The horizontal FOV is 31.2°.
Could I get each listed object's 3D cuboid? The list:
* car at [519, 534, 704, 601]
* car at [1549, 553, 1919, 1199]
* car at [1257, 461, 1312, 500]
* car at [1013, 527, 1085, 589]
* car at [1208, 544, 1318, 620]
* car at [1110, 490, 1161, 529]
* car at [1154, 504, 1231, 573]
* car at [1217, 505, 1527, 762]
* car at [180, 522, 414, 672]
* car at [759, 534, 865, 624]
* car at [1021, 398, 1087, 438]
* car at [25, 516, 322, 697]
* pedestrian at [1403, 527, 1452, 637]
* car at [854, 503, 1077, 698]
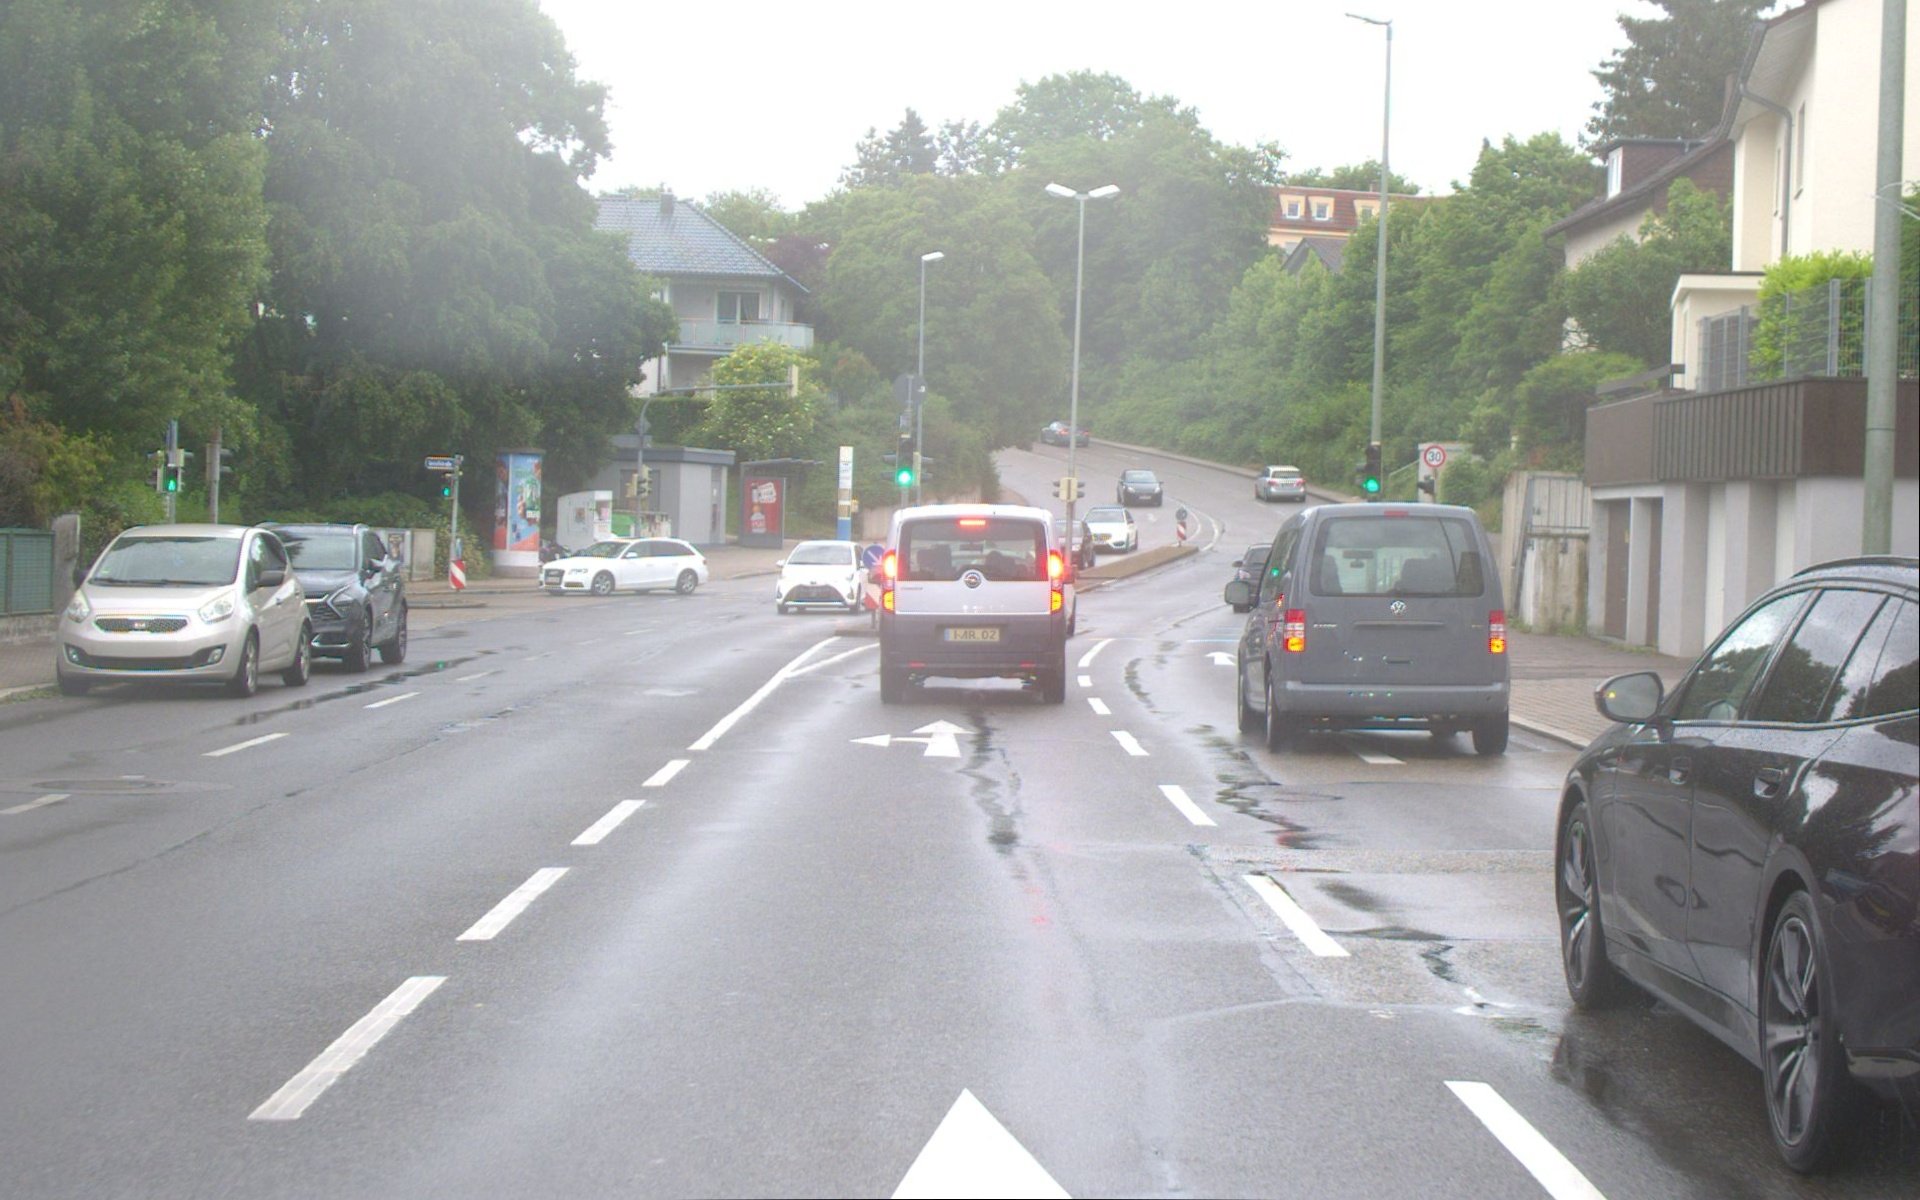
[{"bbox_3d":[-8.520,-0.794,84.312,1.998,1.542,4.386,2,1,38],"label":"car"},{"bbox_3d":[2.857,0.641,9.125,1.993,1.478,4.000,1,1,2],"label":"car"},{"bbox_3d":[14.390,-5.294,152.646,1.993,1.579,4.000,1,1,0],"label":"car"},{"bbox_3d":[2.593,-1.246,101.125,1.993,1.766,4.000,1,1,0],"label":"car"},{"bbox_3d":[6.492,-0.408,74.058,1.993,1.573,4.000,1,1,0],"label":"car"},{"bbox_3d":[7.644,-3.940,150.360,1.993,1.579,4.000,1,1,0],"label":"car"},{"bbox_3d":[7.975,-2.136,117.849,2.522,2.006,5.608,2,4,4],"label":"car"},{"bbox_3d":[3.050,0.209,26.196,1.838,1.761,4.000,1,1,0],"label":"car"},{"bbox_3d":[-7.521,-0.065,39.350,1.884,1.579,4.000,1,1,0],"label":"car"},{"bbox_3d":[-3.039,-0.460,71.414,1.993,1.766,4.000,1,1,0],"label":"car"},{"bbox_3d":[5.227,-10.179,192.045,2.521,2.006,5.611,1,4,-10],"label":"car"},{"bbox_3d":[-7.426,0.031,32.832,1.884,1.579,4.000,1,1,0],"label":"car"},{"bbox_3d":[8.598,-0.339,63.209,0.873,2.007,0.878,1,1,8],"label":"pedestrian"},{"bbox_3d":[0.053,-0.027,33.442,1.993,1.731,4.000,1,1,0],"label":"car"}]
